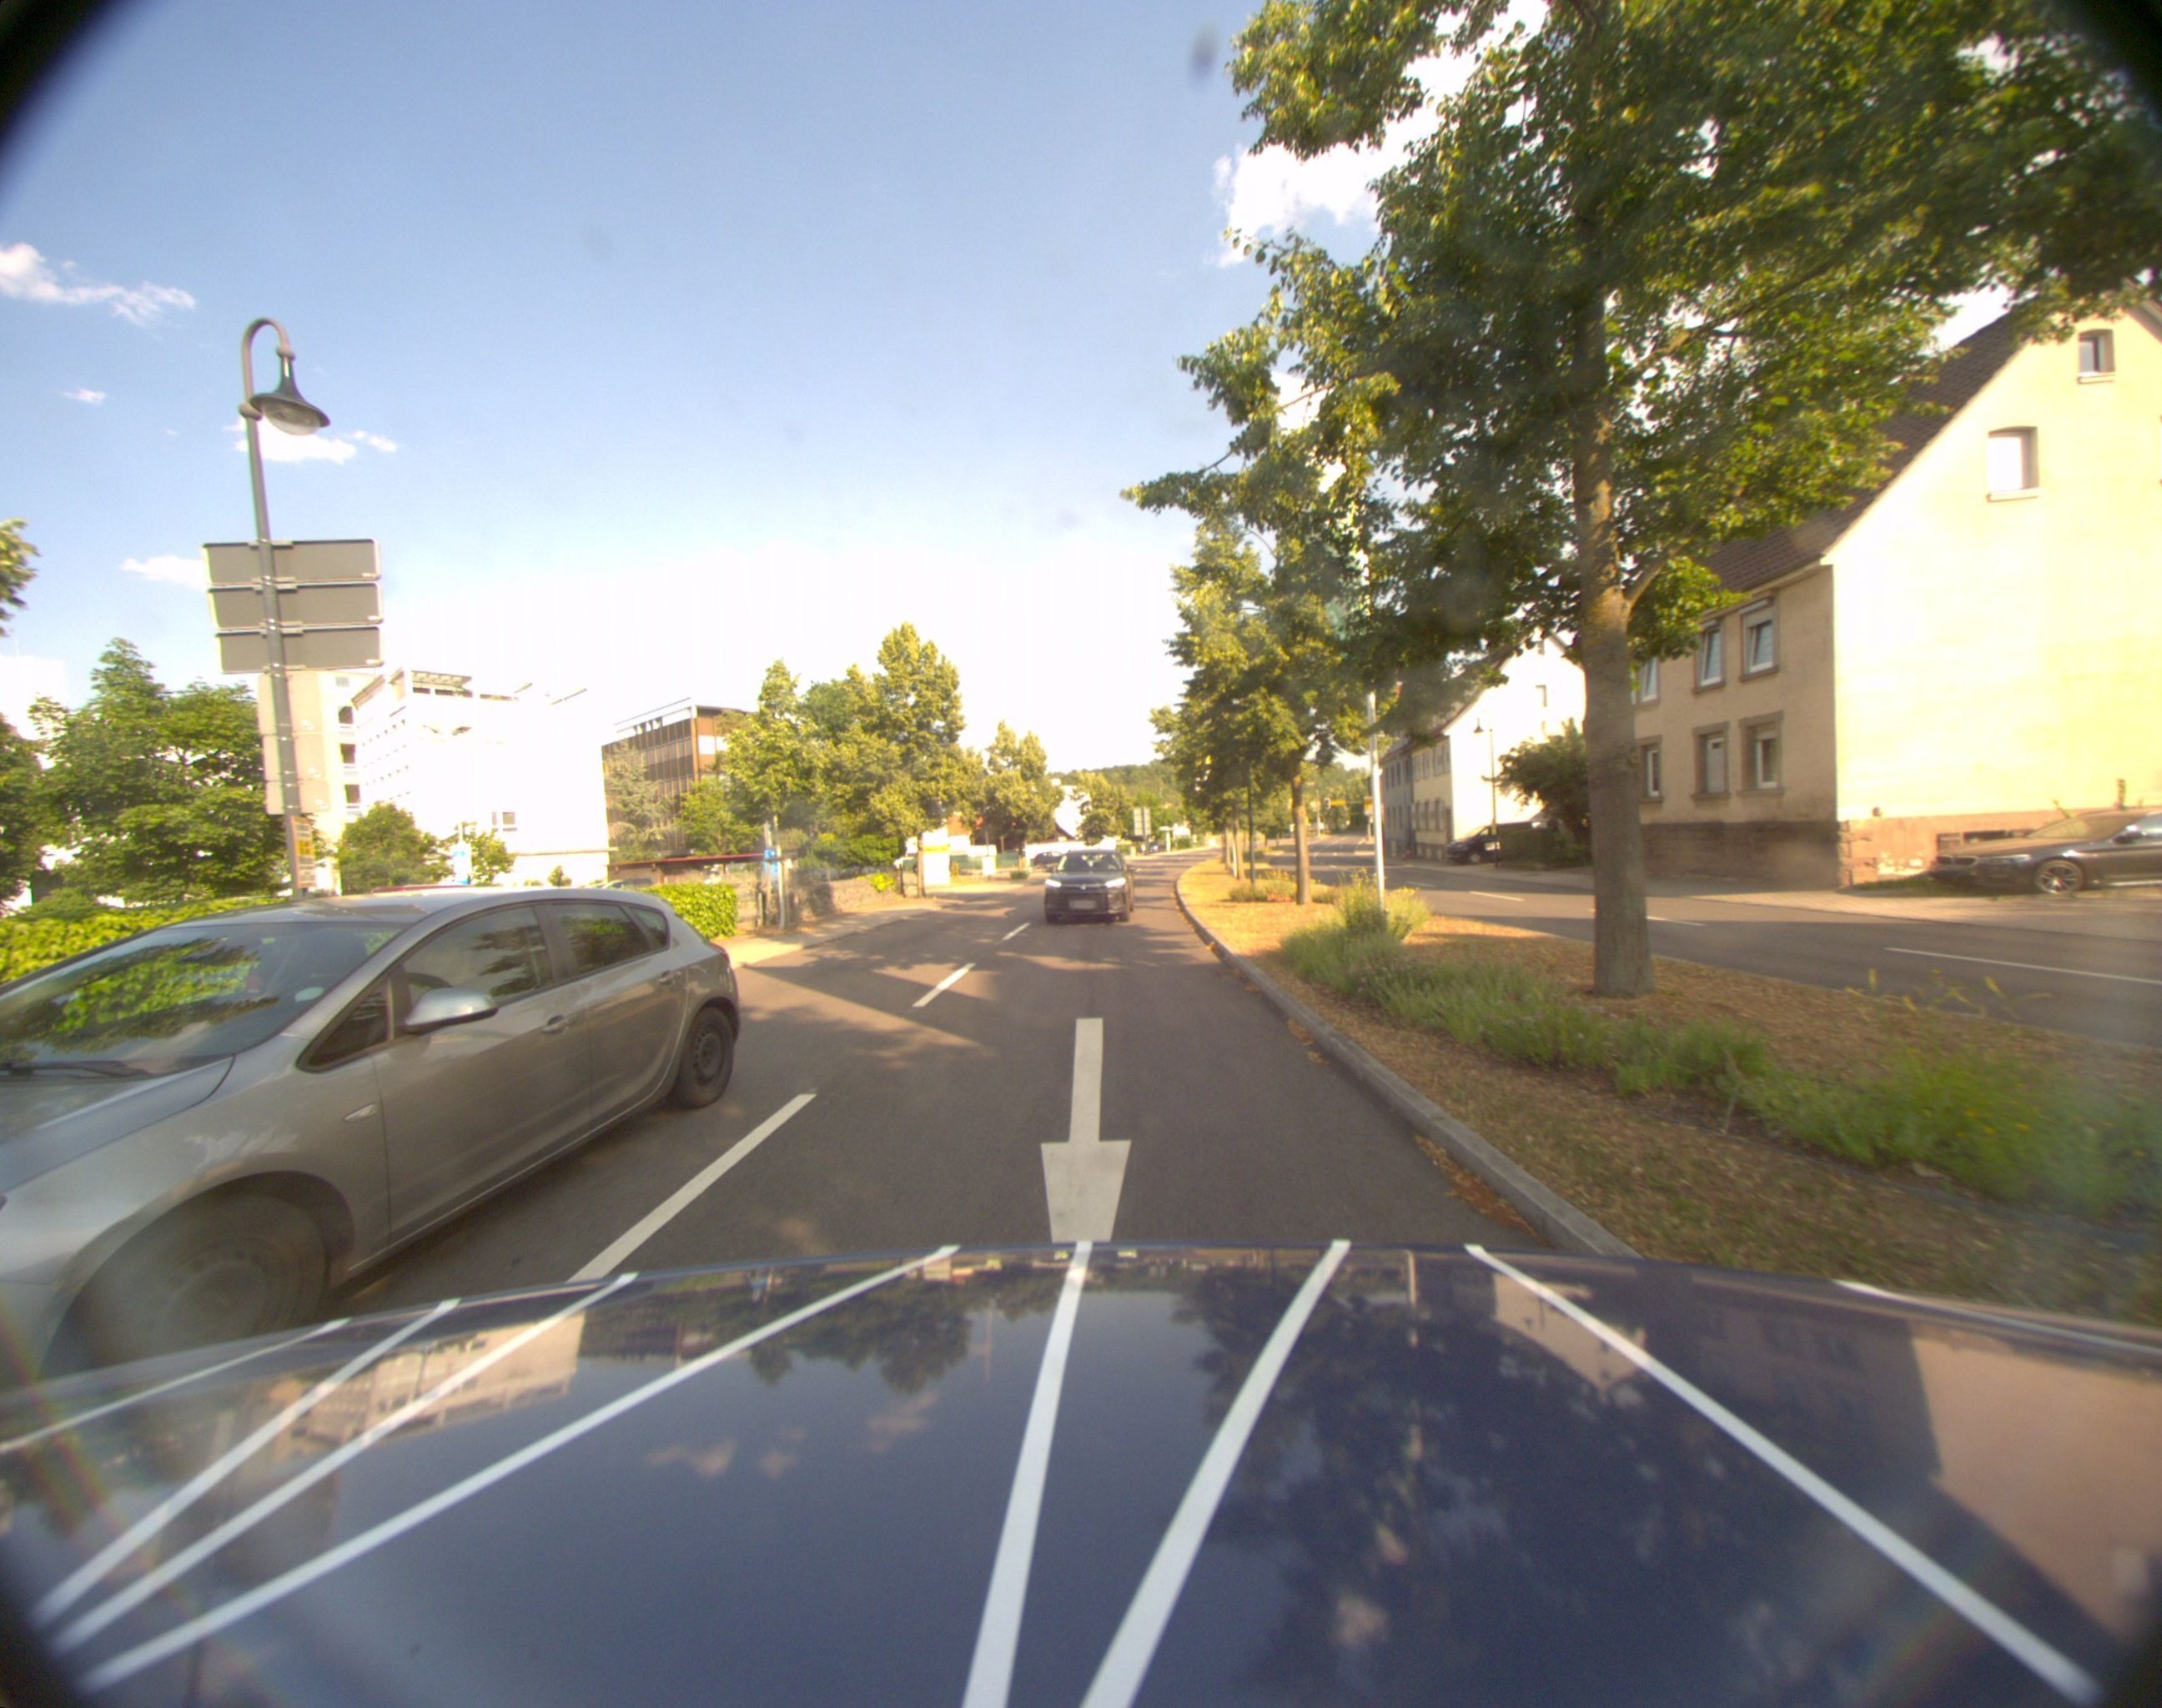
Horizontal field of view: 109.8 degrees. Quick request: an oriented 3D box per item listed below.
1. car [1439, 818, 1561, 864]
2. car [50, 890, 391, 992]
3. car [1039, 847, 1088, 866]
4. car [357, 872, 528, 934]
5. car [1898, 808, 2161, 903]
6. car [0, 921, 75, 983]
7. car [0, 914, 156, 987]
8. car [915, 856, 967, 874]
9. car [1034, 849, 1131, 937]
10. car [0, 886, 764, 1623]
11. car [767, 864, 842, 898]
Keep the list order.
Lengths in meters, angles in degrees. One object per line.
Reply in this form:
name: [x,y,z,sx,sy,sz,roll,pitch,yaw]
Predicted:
car: [20.640,-0.625,37.618,4.832,1.866,2.001,-4,1,13]
car: [-18.622,1.786,16.857,1.997,1.523,4.550,-5,0,8]
car: [-1.484,0.175,65.917,3.831,1.412,1.940,-3,1,14]
car: [-23.690,1.762,28.491,1.997,1.844,4.649,-3,1,9]
car: [18.368,-0.002,13.813,4.352,1.477,2.013,-3,1,17]
car: [-28.731,2.642,18.867,1.997,1.435,3.954,-3,1,8]
car: [-26.118,2.429,18.205,1.997,1.435,4.550,-3,1,8]
car: [-12.419,0.970,67.364,3.993,1.412,1.940,-3,1,14]
car: [0.168,0.737,16.777,1.724,1.605,4.262,-2,1,5]
car: [-3.218,0.996,3.235,1.725,1.481,4.307,-2,0,2]
car: [-14.192,1.337,39.251,1.655,1.454,3.869,-3,1,14]
